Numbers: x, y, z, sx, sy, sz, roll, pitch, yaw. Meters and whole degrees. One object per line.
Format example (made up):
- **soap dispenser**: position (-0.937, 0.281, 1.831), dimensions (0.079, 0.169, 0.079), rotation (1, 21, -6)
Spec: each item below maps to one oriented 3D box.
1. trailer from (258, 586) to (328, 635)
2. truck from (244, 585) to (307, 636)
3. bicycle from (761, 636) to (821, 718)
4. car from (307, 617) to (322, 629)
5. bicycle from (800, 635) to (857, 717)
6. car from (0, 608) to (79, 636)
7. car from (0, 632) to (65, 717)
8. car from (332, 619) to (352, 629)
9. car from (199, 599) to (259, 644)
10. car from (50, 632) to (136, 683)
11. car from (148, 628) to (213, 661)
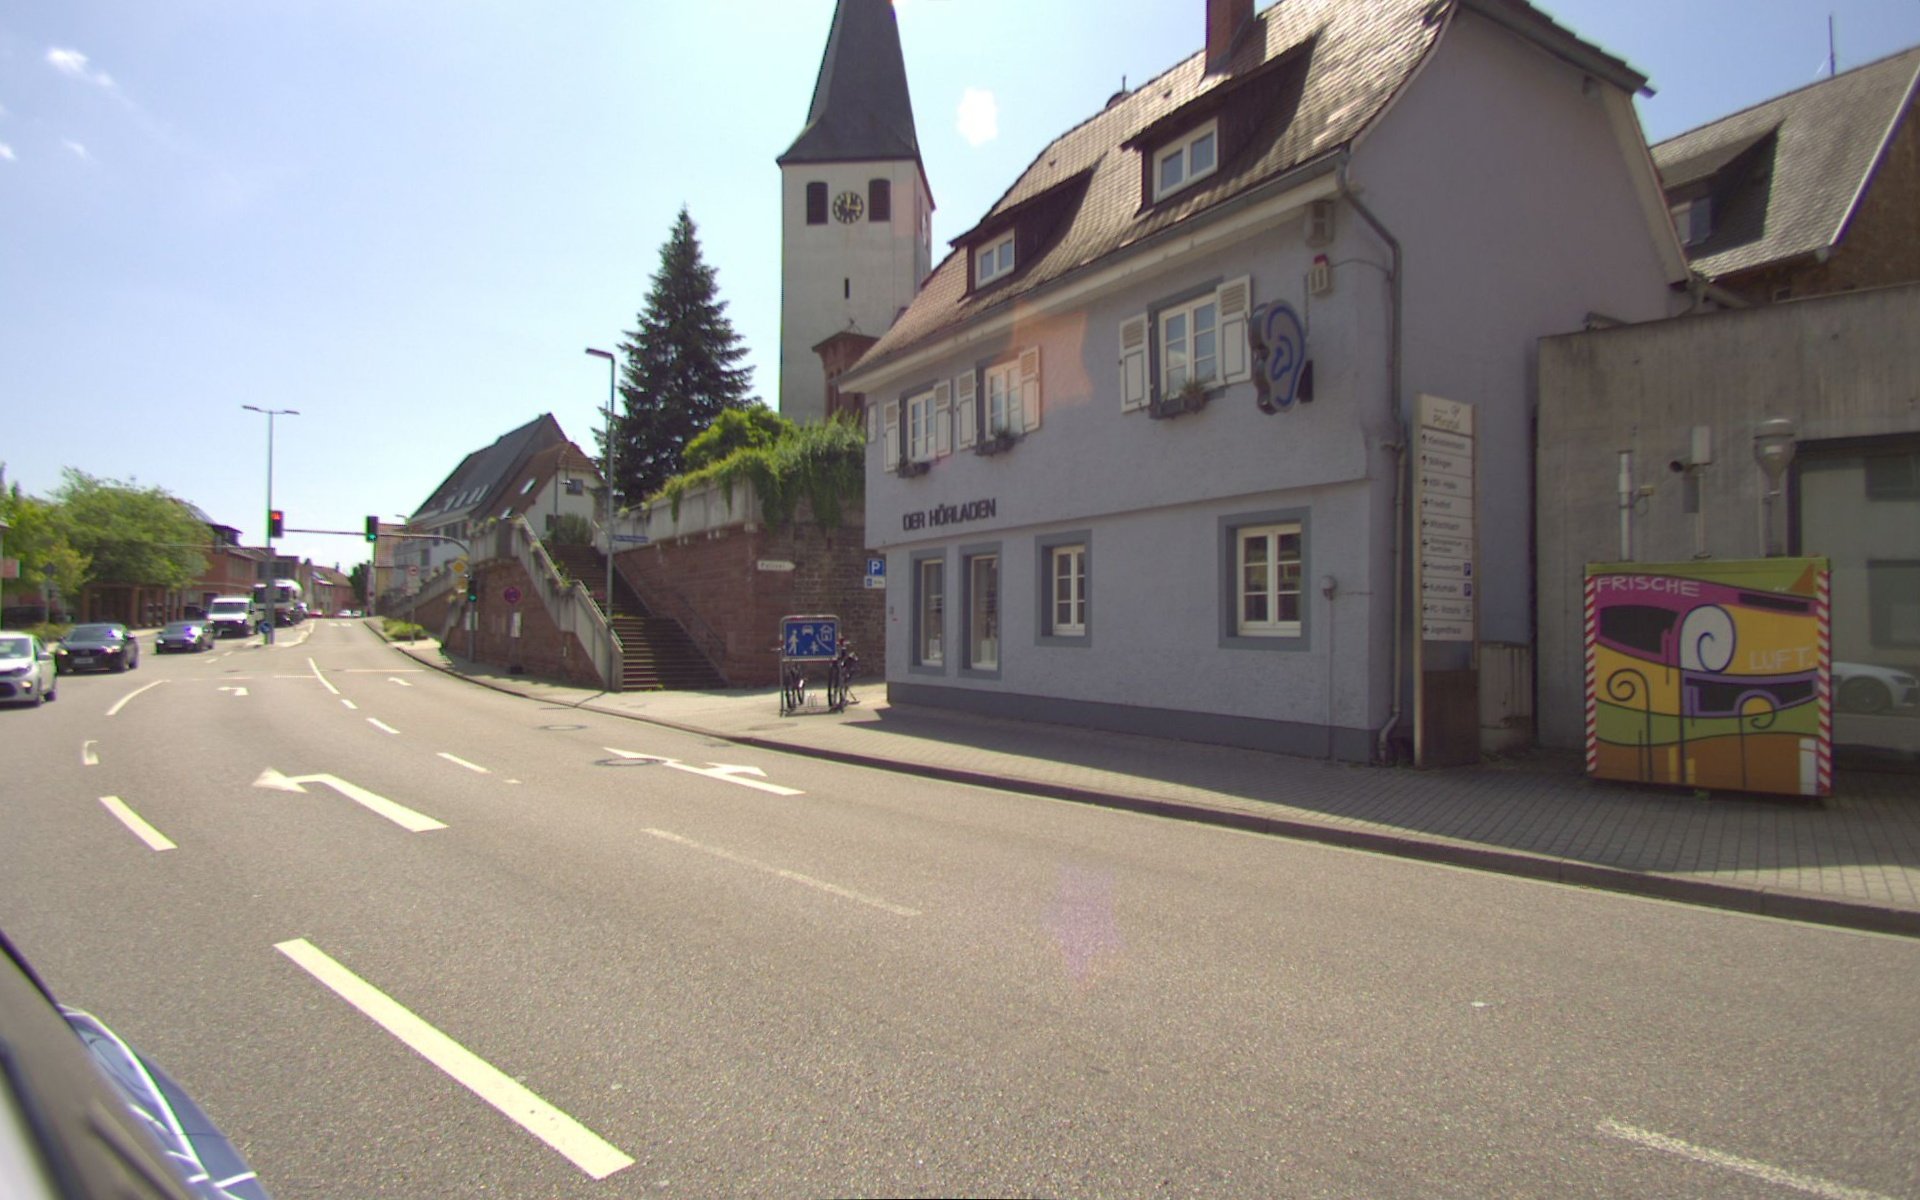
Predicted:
- **trailer**: position (-52.526, 0.957, 79.990), dimensions (2.790, 3.597, 11.001), rotation (1, -2, -24)
- **truck**: position (-49.911, 0.840, 73.920), dimensions (2.800, 3.597, 5.486), rotation (1, -2, -24)
- **bicycle**: position (-2.916, 1.305, 17.629), dimensions (0.571, 1.258, 1.829), rotation (-3, 0, 4)
- **car**: position (-99.396, 3.469, 155.827), dimensions (1.737, 1.799, 4.012), rotation (0, -1, -31)
- **bicycle**: position (-2.272, 1.297, 17.648), dimensions (0.571, 1.258, 1.829), rotation (-3, 0, 4)
- **car**: position (-60.876, 1.463, 66.969), dimensions (3.700, 1.723, 1.729), rotation (-1, 0, -35)
- **car**: position (-19.940, 1.492, 20.878), dimensions (1.697, 1.562, 4.314), rotation (-1, -1, -35)
- **car**: position (-98.979, 3.845, 162.160), dimensions (1.978, 1.643, 4.592), rotation (1, -2, -23)
- **car**: position (-43.801, 1.334, 60.744), dimensions (2.139, 2.583, 4.840), rotation (1, -2, -27)
- **car**: position (-29.825, 1.916, 34.925), dimensions (1.697, 1.562, 4.315), rotation (-1, -1, -33)
- **car**: position (-37.264, 2.097, 48.483), dimensions (1.897, 1.376, 4.316), rotation (-1, -1, -30)
